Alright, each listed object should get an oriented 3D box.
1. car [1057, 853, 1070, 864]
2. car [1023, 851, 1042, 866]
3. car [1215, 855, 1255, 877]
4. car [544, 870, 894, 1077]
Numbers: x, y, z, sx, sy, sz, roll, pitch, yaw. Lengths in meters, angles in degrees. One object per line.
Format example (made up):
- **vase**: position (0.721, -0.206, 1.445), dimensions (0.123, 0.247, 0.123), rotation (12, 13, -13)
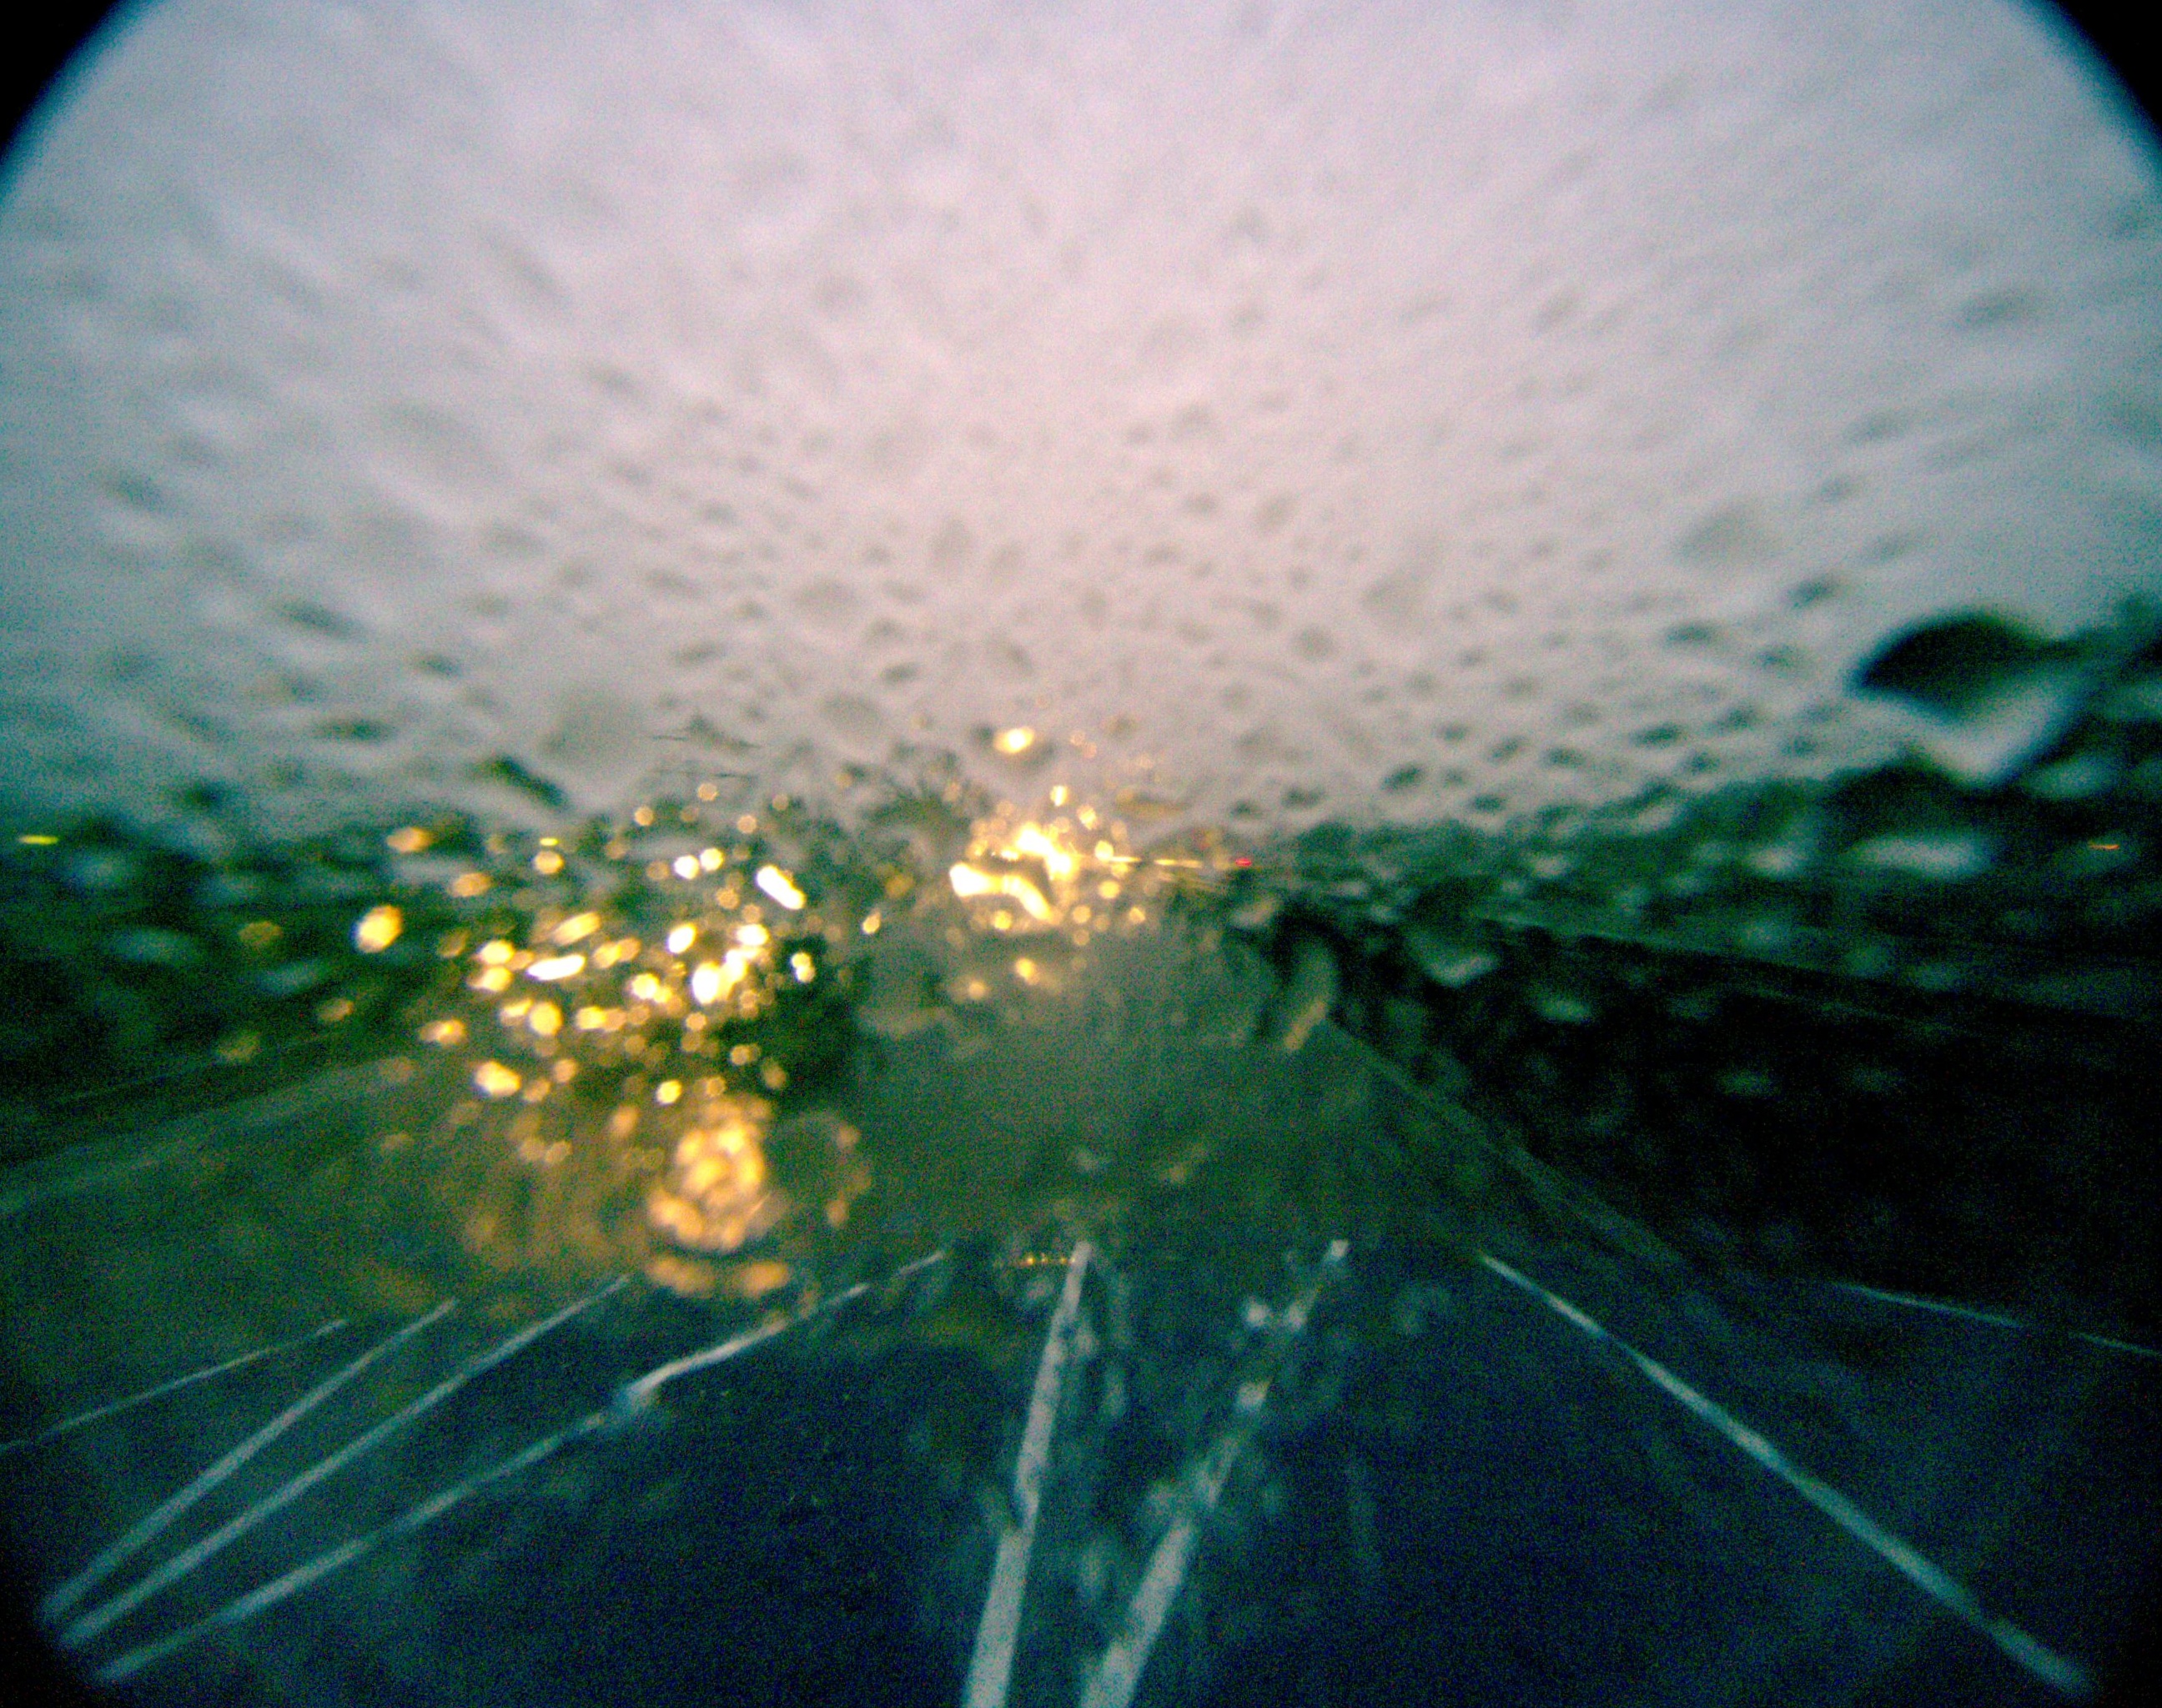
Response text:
- **car**: position (-2.439, 0.625, 105.967), dimensions (1.632, 1.466, 3.999), rotation (-1, 0, -3)
- **car**: position (-5.530, 0.527, 87.157), dimensions (1.802, 1.494, 3.999), rotation (-4, 1, 0)
- **car**: position (11.044, 0.824, 54.804), dimensions (1.931, 1.430, 4.550), rotation (-2, 0, 0)
- **car**: position (-3.312, 0.980, 7.871), dimensions (1.682, 1.500, 3.809), rotation (-2, 0, 2)
